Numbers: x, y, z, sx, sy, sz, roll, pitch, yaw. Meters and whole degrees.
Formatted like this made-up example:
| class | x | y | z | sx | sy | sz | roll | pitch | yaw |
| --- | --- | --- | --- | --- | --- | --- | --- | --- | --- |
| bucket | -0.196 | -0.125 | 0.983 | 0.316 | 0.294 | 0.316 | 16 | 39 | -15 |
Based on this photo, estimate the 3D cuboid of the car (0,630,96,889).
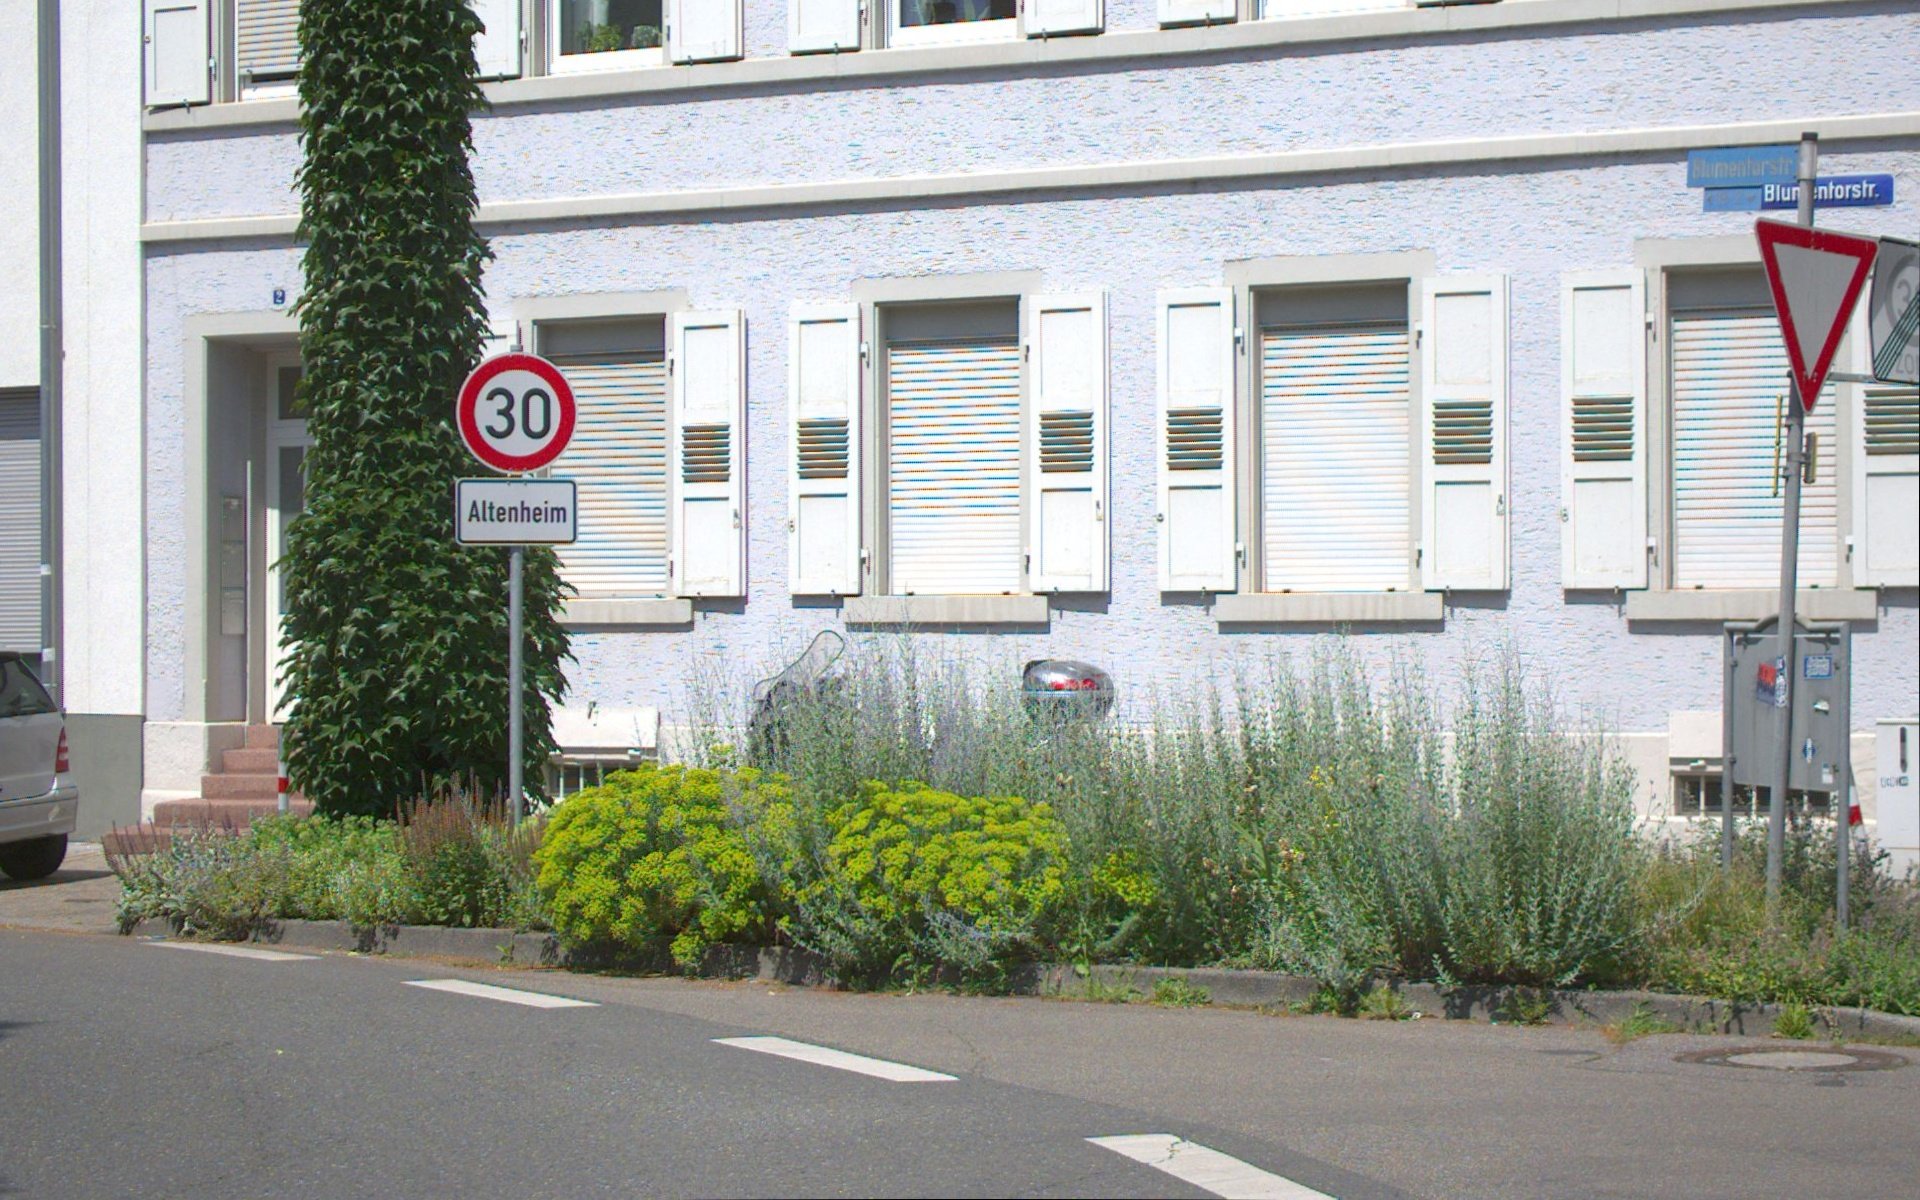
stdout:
| class | x | y | z | sx | sy | sz | roll | pitch | yaw |
| --- | --- | --- | --- | --- | --- | --- | --- | --- | --- |
| car | -7.411 | 0.953 | 21.930 | 3.612 | 1.581 | 1.581 | 1 | -2 | 32 |
